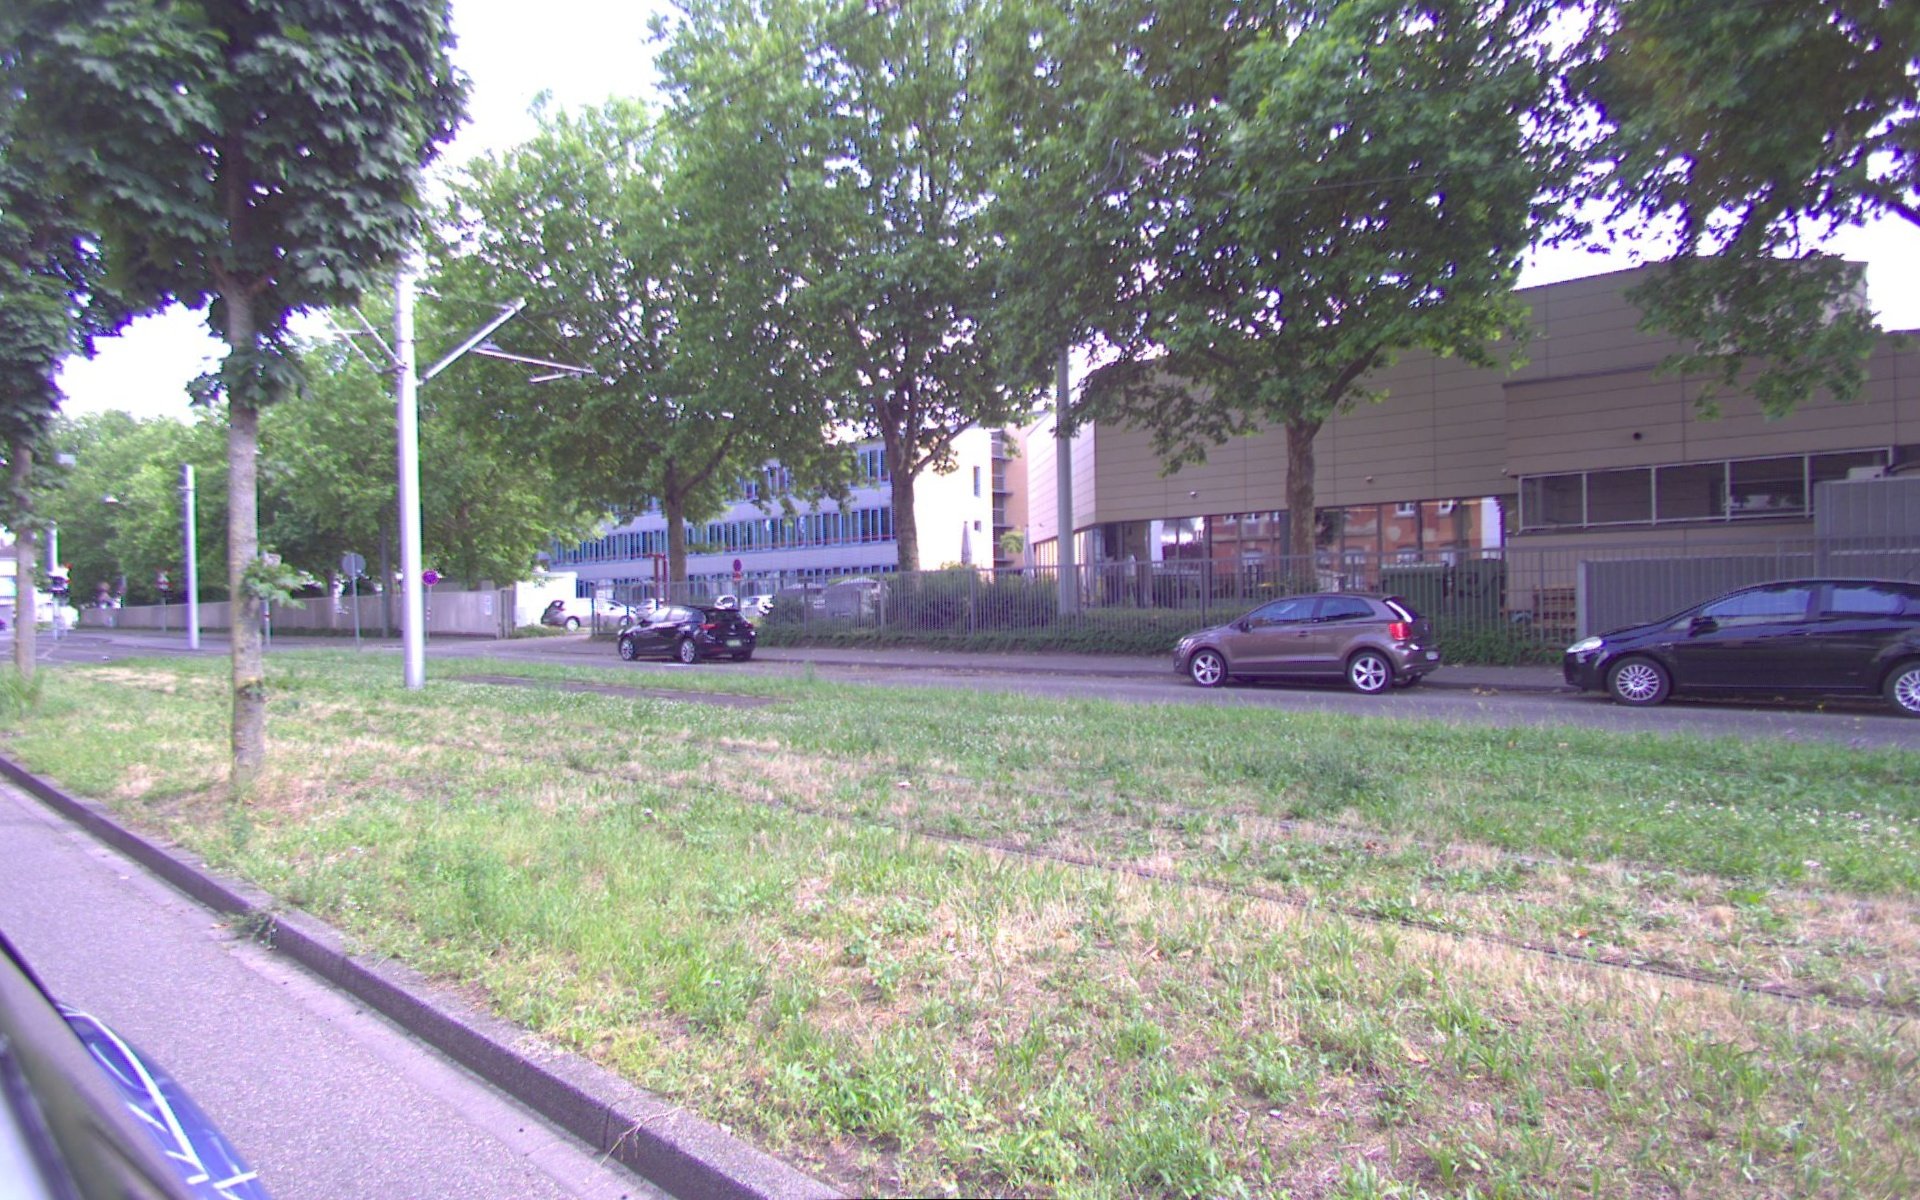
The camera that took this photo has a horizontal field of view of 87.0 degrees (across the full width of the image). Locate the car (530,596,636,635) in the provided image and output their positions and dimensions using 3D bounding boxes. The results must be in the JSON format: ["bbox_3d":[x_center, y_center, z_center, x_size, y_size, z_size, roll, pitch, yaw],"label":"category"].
[{"bbox_3d":[-16.712,0.652,45.002,1.998,1.630,3.948,-1,0,38],"label":"car"}]

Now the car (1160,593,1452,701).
[{"bbox_3d":[5.165,0.659,15.393,3.899,1.436,1.538,-1,0,40],"label":"car"}]

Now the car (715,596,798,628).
[{"bbox_3d":[-10.717,0.616,53.468,1.998,1.630,3.948,-1,0,38],"label":"car"}]

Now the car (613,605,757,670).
[{"bbox_3d":[-6.979,0.907,25.508,3.999,1.475,1.580,-1,0,42],"label":"car"}]

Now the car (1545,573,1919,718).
[{"bbox_3d":[9.312,0.465,11.815,4.000,1.464,1.783,-1,0,43],"label":"car"}]

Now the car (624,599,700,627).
[{"bbox_3d":[-17.778,0.746,60.585,1.998,1.630,3.948,-1,0,38],"label":"car"}]
